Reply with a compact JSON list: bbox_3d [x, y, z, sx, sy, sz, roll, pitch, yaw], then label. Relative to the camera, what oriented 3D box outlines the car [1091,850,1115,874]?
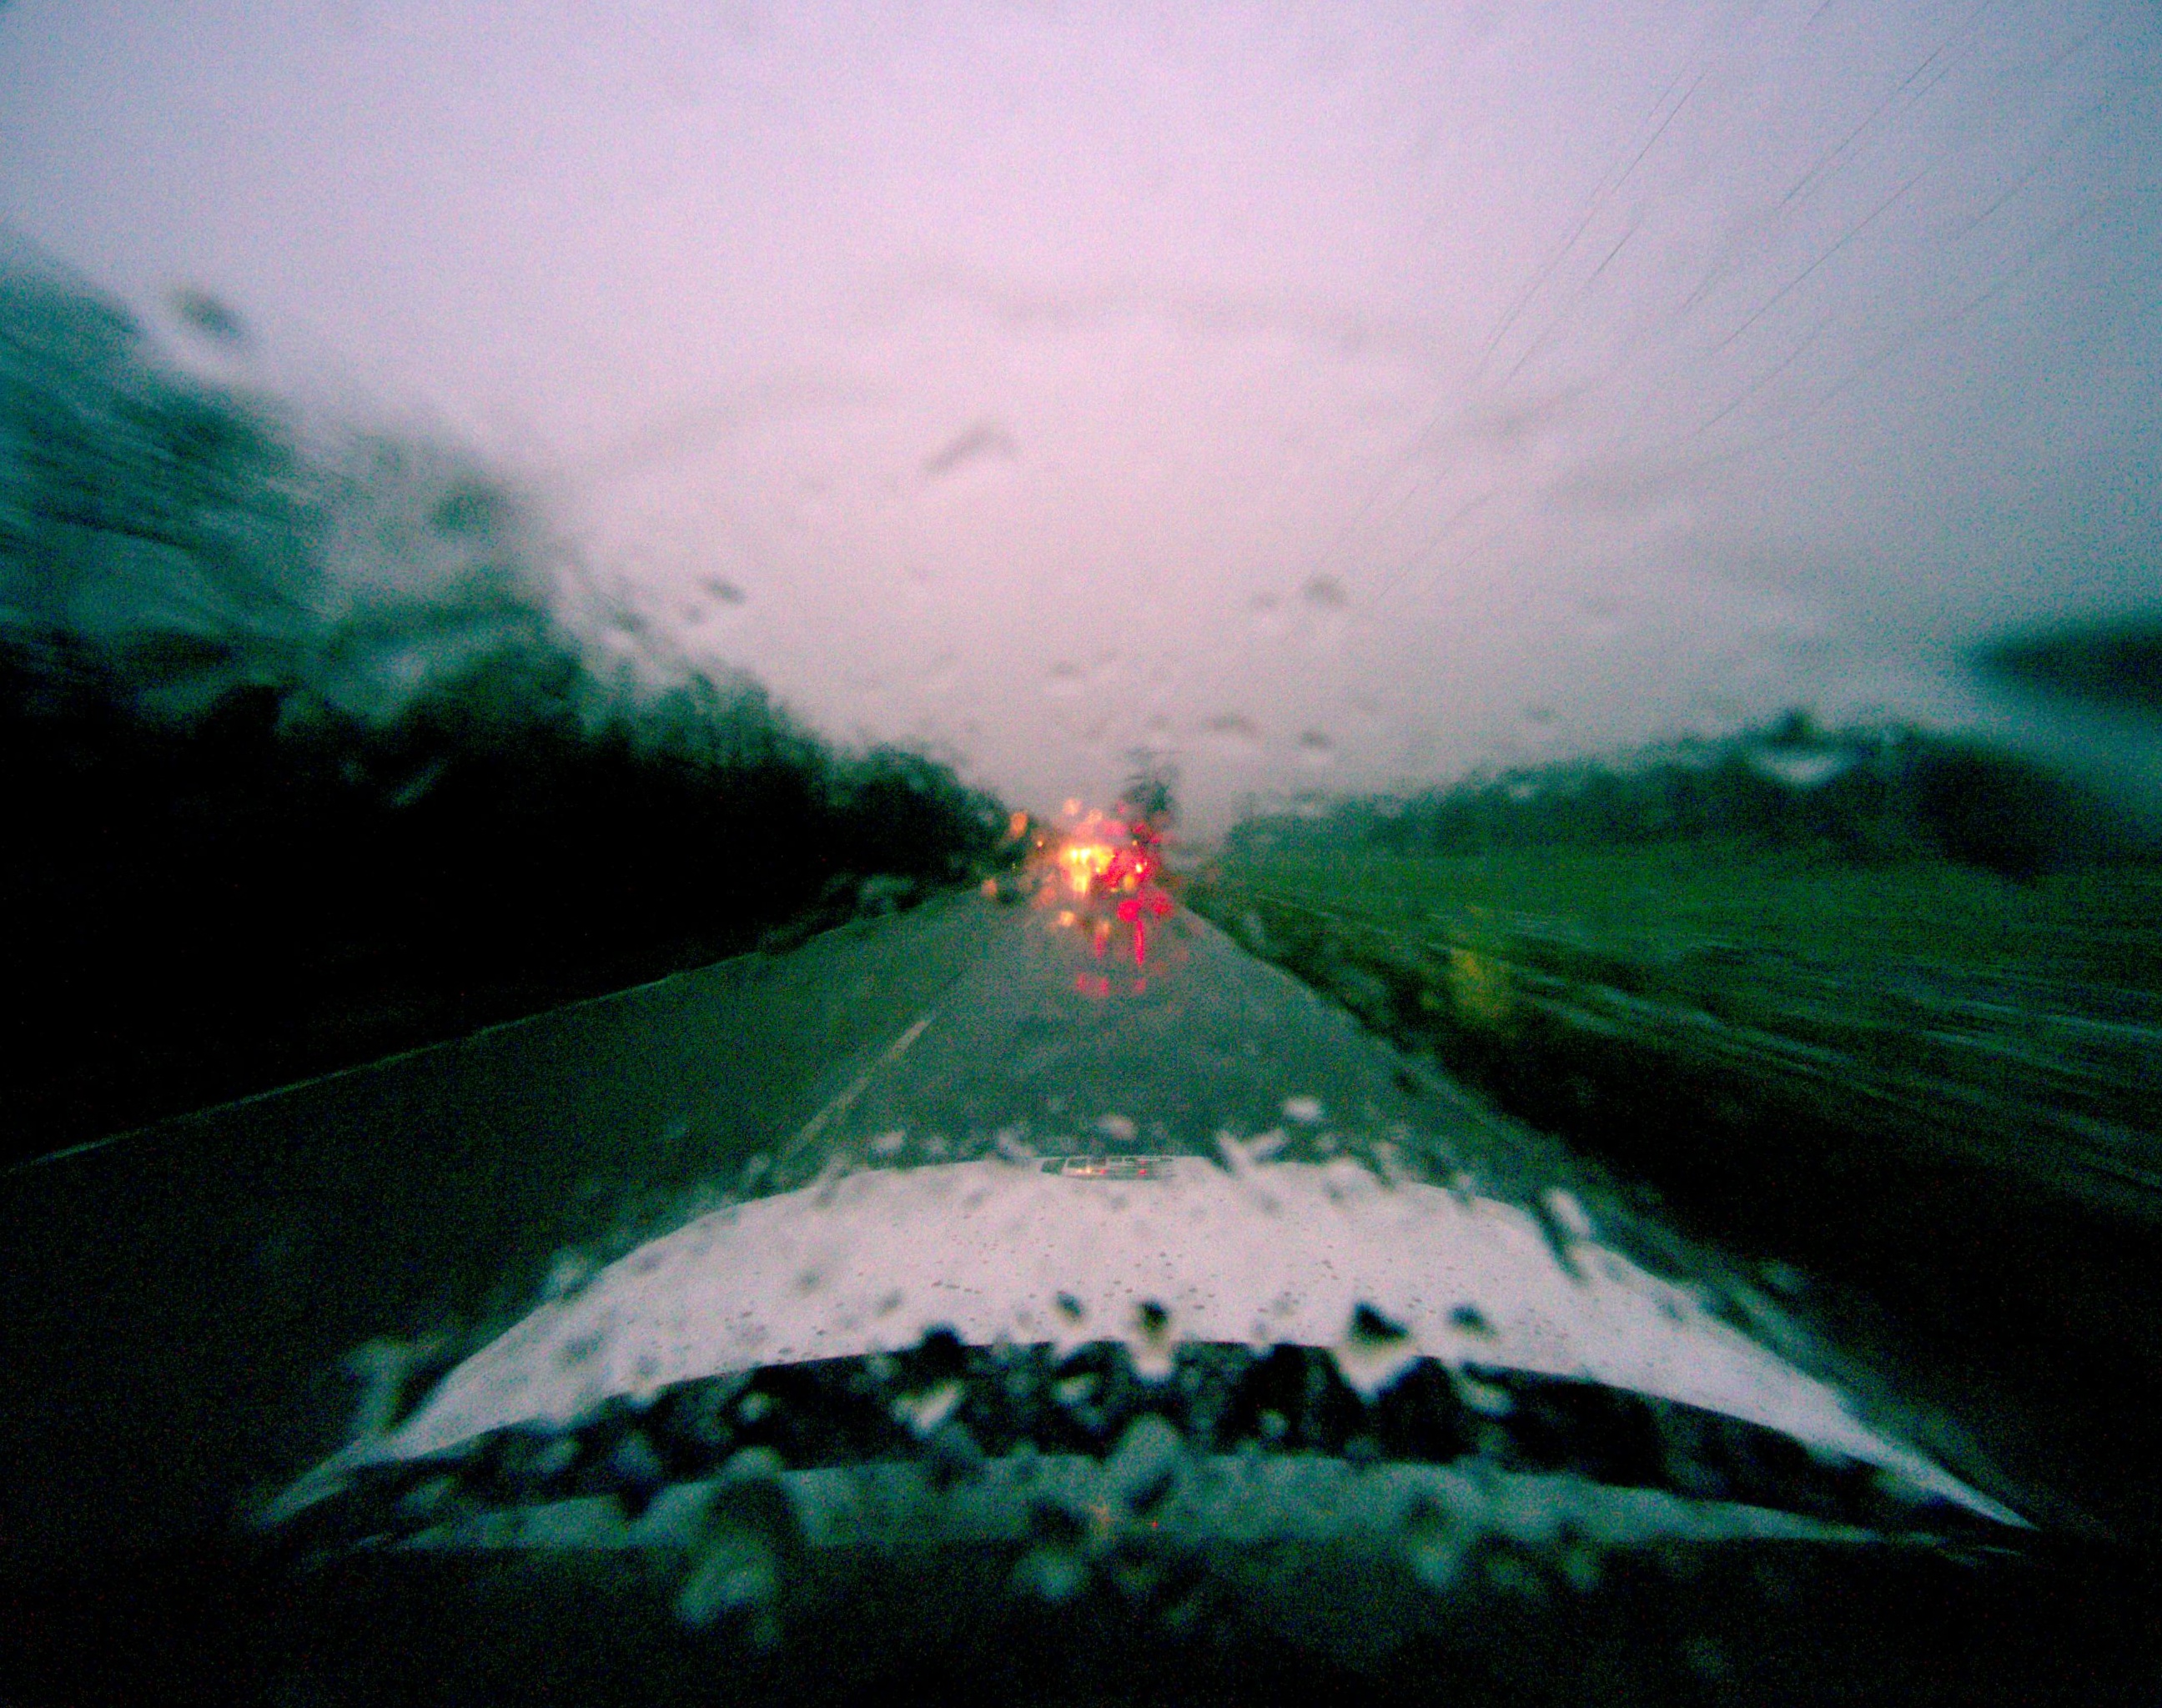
[{"bbox_3d":[1.972,0.714,72.905,1.986,2.013,4.002,-1,0,2],"label":"car"}]

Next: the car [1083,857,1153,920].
[{"bbox_3d":[1.123,0.998,25.439,1.986,1.752,4.001,-1,0,1],"label":"car"}]
